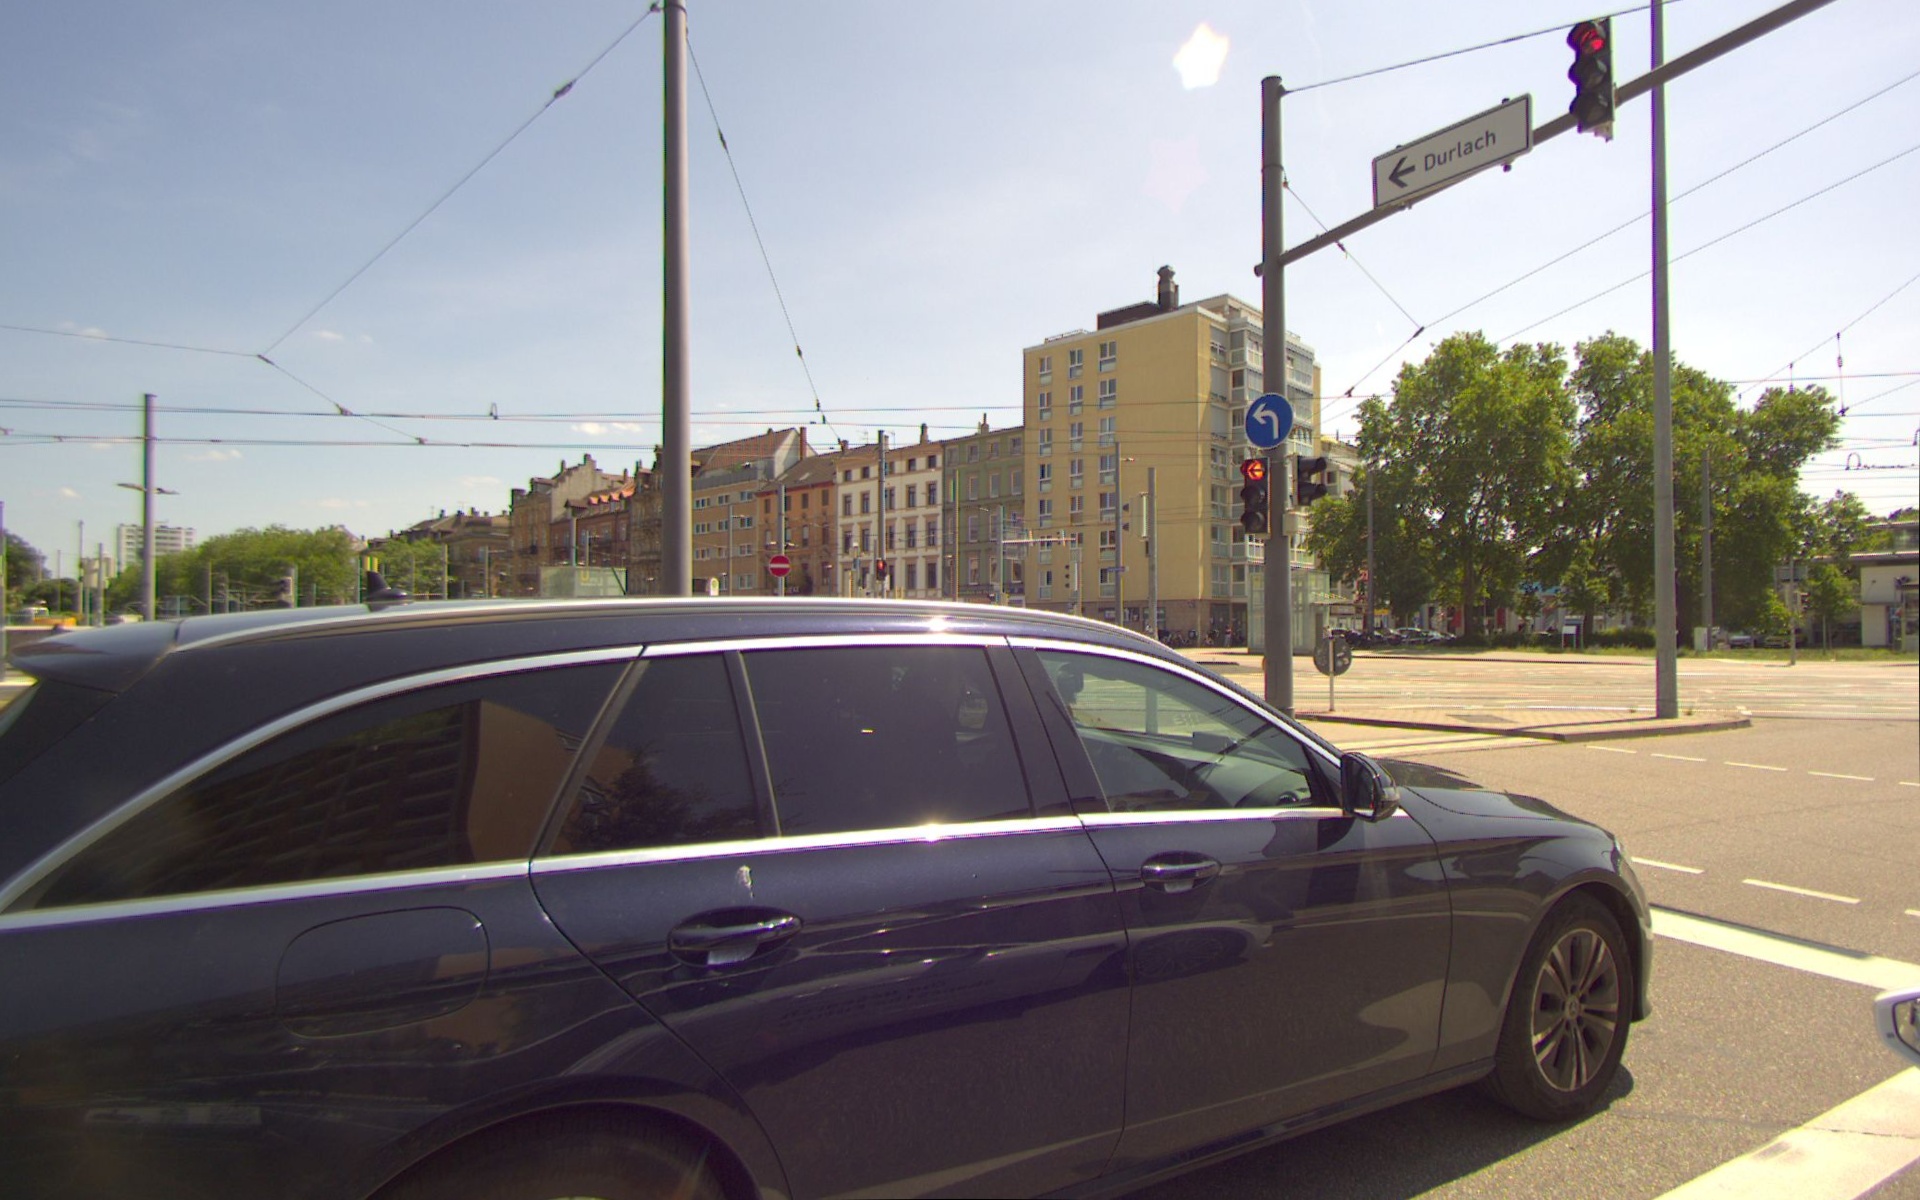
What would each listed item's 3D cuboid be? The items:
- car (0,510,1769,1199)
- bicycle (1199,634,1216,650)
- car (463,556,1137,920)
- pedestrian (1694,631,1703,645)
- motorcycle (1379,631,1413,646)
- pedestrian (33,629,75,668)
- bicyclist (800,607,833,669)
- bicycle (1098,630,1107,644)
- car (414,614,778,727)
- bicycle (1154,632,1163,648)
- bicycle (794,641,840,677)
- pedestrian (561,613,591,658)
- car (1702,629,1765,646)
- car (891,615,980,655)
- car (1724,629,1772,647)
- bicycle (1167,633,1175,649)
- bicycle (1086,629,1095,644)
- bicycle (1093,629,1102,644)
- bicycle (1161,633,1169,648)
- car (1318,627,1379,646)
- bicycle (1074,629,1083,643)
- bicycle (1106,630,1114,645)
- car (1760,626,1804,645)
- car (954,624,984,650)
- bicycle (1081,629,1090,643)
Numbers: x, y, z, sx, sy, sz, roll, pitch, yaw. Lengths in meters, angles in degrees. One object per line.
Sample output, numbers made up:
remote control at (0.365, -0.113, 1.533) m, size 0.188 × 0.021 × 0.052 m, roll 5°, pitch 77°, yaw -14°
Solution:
car at (0.170, 0.755, 2.923) m, size 4.747 × 1.662 × 1.789 m, roll 1°, pitch 0°, yaw -30°
bicycle at (16.832, 2.857, 68.330) m, size 0.427 × 1.040 × 1.435 m, roll -1°, pitch -2°, yaw 44°
car at (-0.916, 0.654, 6.102) m, size 3.692 × 1.597 × 1.736 m, roll 1°, pitch -2°, yaw -30°
pedestrian at (64.364, 3.312, 87.558) m, size 0.439 × 1.220 × 0.511 m, roll 1°, pitch -1°, yaw -24°
motorcycle at (27.626, 2.437, 63.641) m, size 1.887 × 0.974 × 0.524 m, roll -1°, pitch -1°, yaw 31°
pedestrian at (-31.633, 1.685, 35.082) m, size 0.978 × 1.352 × 0.527 m, roll 0°, pitch -1°, yaw 2°
bicyclist at (-3.725, 0.963, 26.061) m, size 0.433 × 1.549 × 1.245 m, roll 2°, pitch 0°, yaw -26°
bicycle at (10.303, 2.673, 72.609) m, size 0.424 × 1.040 × 1.445 m, roll 0°, pitch -1°, yaw 16°
car at (-5.275, 0.975, 14.984) m, size 4.773 × 1.484 × 1.991 m, roll 1°, pitch -2°, yaw -21°
bicycle at (13.675, 2.761, 69.175) m, size 0.424 × 1.040 × 1.445 m, roll 0°, pitch -1°, yaw 16°
bicycle at (-3.719, 1.513, 26.026) m, size 0.620 × 0.866 × 1.887 m, roll 1°, pitch -2°, yaw -26°
pedestrian at (-16.102, 1.477, 42.123) m, size 1.114 × 1.837 × 0.677 m, roll -1°, pitch -2°, yaw 38°
car at (71.565, 3.430, 93.005) m, size 4.245 × 1.530 × 1.771 m, roll -1°, pitch -2°, yaw 26°
car at (-1.345, 1.858, 54.014) m, size 4.804 × 2.084 × 1.988 m, roll -1°, pitch -2°, yaw 43°
car at (68.330, 3.287, 87.120) m, size 4.274 × 1.530 × 1.759 m, roll 1°, pitch -2°, yaw -29°
bicycle at (14.418, 2.782, 68.599) m, size 0.424 × 1.040 × 1.445 m, roll 0°, pitch -1°, yaw 16°
bicycle at (9.545, 2.653, 73.303) m, size 0.424 × 1.040 × 1.445 m, roll 0°, pitch -1°, yaw 16°
bicycle at (9.986, 2.666, 73.006) m, size 0.424 × 1.040 × 1.445 m, roll 0°, pitch -1°, yaw 16°
bicycle at (14.049, 2.771, 68.863) m, size 0.424 × 1.040 × 1.445 m, roll 0°, pitch -1°, yaw 16°
car at (29.486, 2.744, 76.271) m, size 3.939 × 1.439 × 1.991 m, roll -1°, pitch -2°, yaw 39°
bicycle at (8.756, 2.632, 74.048) m, size 0.424 × 1.040 × 1.445 m, roll 0°, pitch -1°, yaw 16°
bicycle at (10.820, 2.688, 72.350) m, size 0.424 × 1.040 × 1.445 m, roll 0°, pitch -1°, yaw 16°
car at (69.183, 2.966, 84.494) m, size 4.283 × 1.530 × 1.756 m, roll 1°, pitch -2°, yaw -35°
car at (0.577, 2.590, 70.624) m, size 1.803 × 1.773 × 3.998 m, roll 0°, pitch -1°, yaw -4°
bicycle at (9.183, 2.644, 73.611) m, size 0.424 × 1.040 × 1.445 m, roll 0°, pitch -1°, yaw 16°
